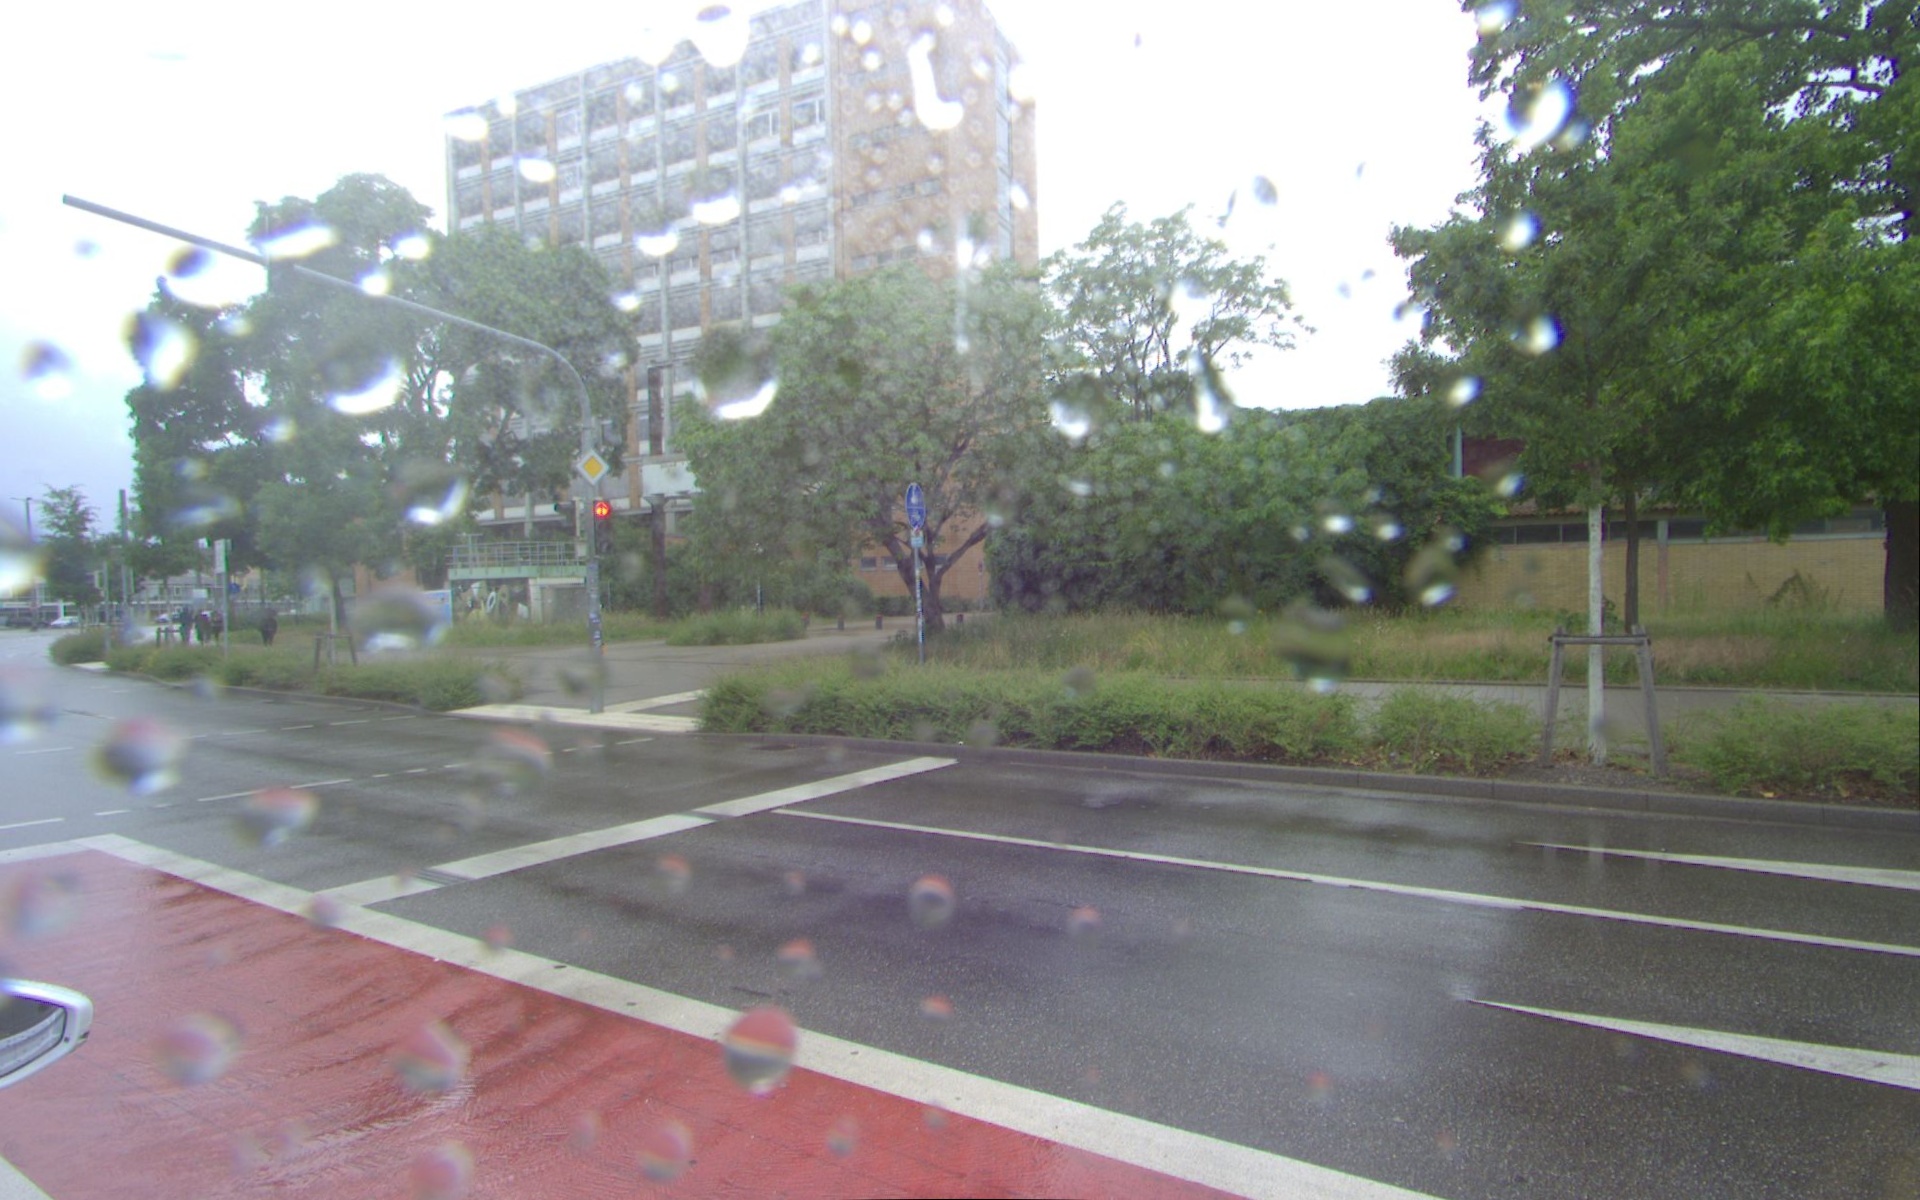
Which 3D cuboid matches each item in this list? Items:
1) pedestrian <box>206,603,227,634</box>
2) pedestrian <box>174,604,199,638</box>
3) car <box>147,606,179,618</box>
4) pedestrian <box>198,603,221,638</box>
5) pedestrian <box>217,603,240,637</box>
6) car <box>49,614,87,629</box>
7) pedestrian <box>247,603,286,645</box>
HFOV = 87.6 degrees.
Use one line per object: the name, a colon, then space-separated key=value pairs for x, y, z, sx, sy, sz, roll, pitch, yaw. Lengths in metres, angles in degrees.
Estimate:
pedestrian: x=-39.190 y=0.959 z=52.792 sx=0.926 sy=1.609 sz=0.699 roll=0 pitch=1 yaw=43
pedestrian: x=-36.682 y=0.989 z=47.496 sx=0.926 sy=1.609 sz=0.749 roll=0 pitch=1 yaw=42
car: x=-111.462 y=1.686 z=140.085 sx=1.763 sy=1.665 sz=4.153 roll=-1 pitch=0 yaw=-13
pedestrian: x=-35.782 y=0.970 z=47.720 sx=0.926 sy=1.609 sz=0.699 roll=0 pitch=1 yaw=43
pedestrian: x=-35.332 y=0.957 z=48.337 sx=0.926 sy=1.609 sz=0.699 roll=0 pitch=1 yaw=43
car: x=-109.299 y=2.637 z=122.730 sx=1.763 sy=1.665 sz=4.152 roll=-1 pitch=0 yaw=-15
pedestrian: x=-26.913 y=0.919 z=38.854 sx=0.926 sy=1.609 sz=1.017 roll=0 pitch=1 yaw=42
